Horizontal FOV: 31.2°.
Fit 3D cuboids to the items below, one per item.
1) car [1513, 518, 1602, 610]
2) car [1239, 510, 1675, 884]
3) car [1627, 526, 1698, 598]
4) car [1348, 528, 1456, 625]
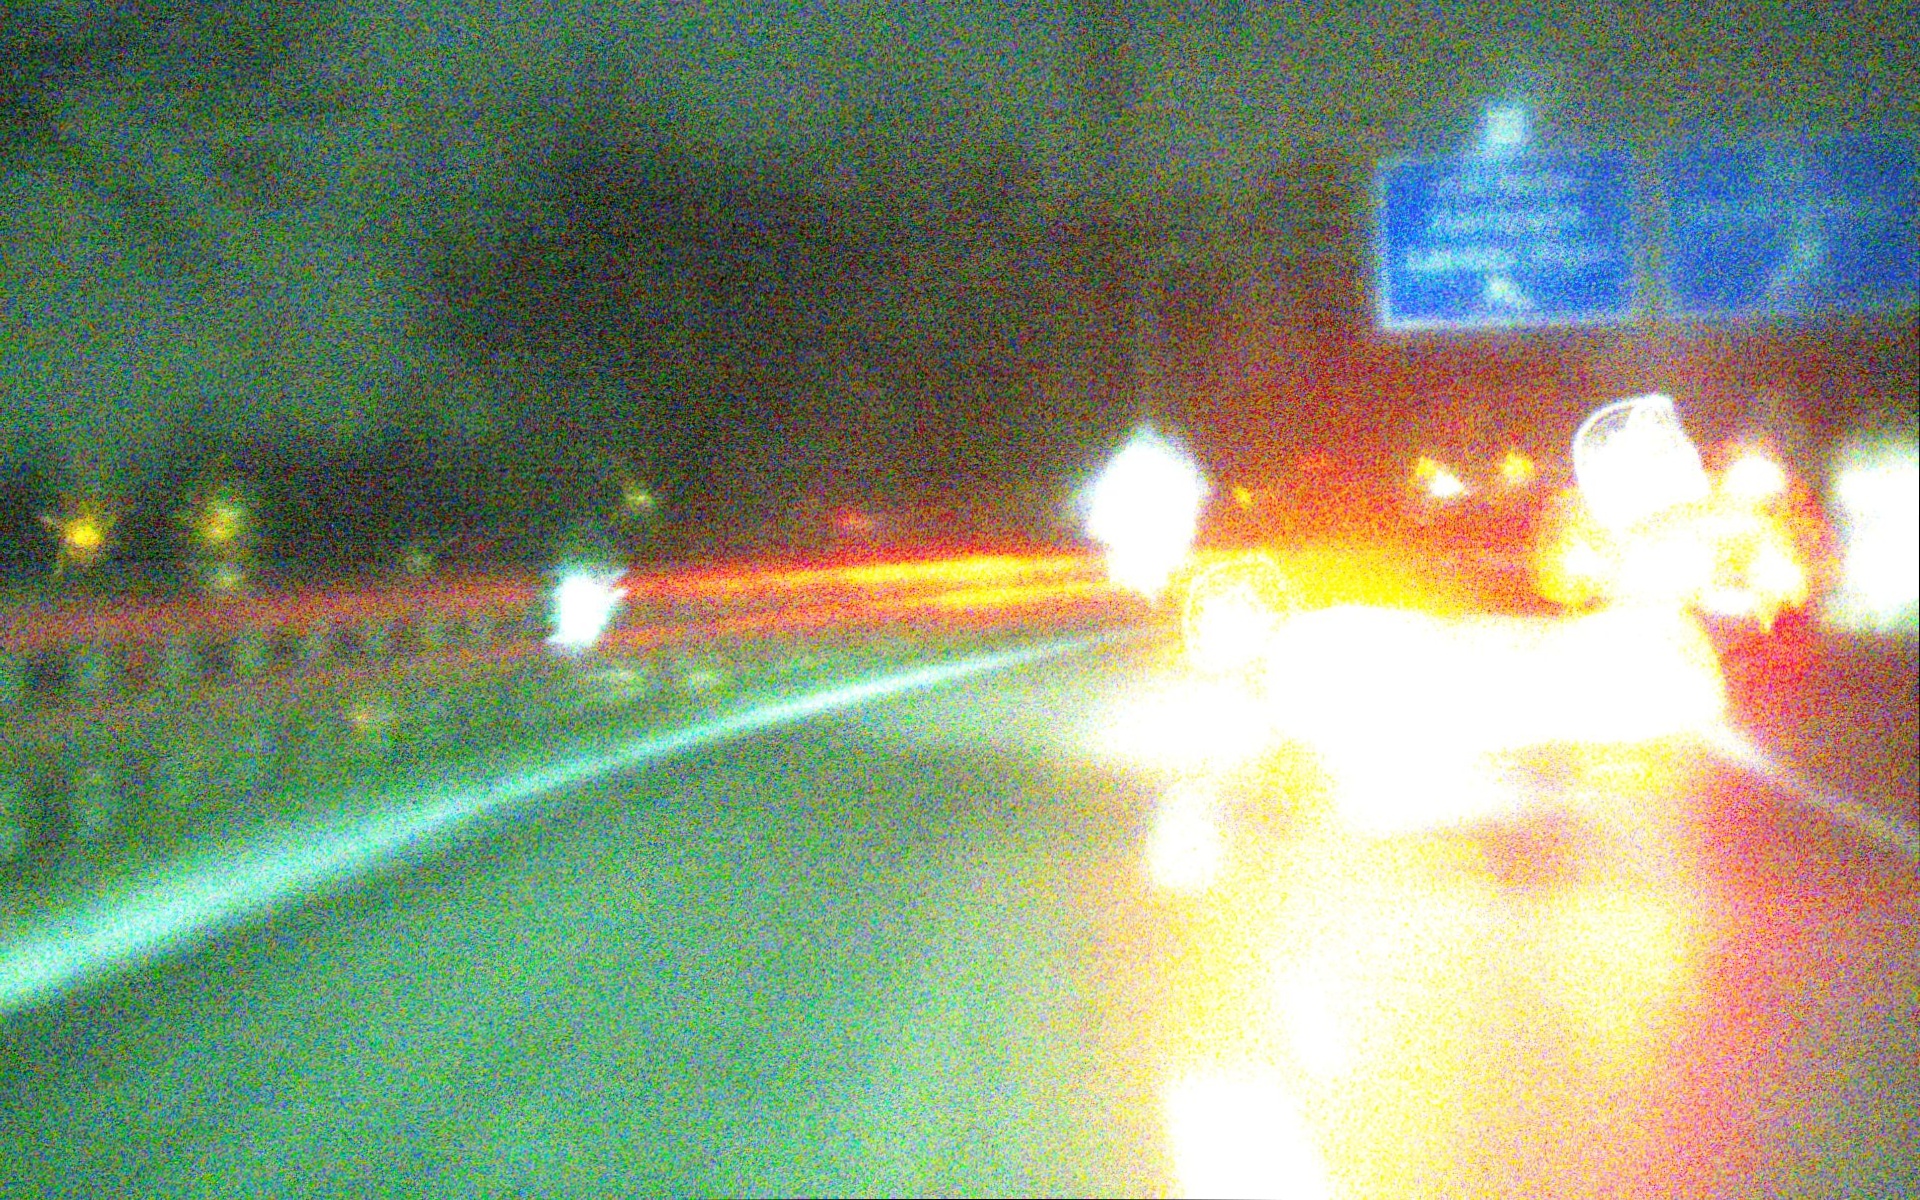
[{"bbox_3d":[13.547,-0.803,77.821,1.896,2.033,4.043,0,0,11],"label":"car"},{"bbox_3d":[2.397,0.397,17.500,1.861,1.641,4.068,1,1,4],"label":"car"},{"bbox_3d":[20.160,-1.084,98.568,1.896,1.991,4.043,0,1,12],"label":"car"},{"bbox_3d":[8.089,-0.429,62.869,1.896,1.715,4.044,0,0,8],"label":"car"}]
